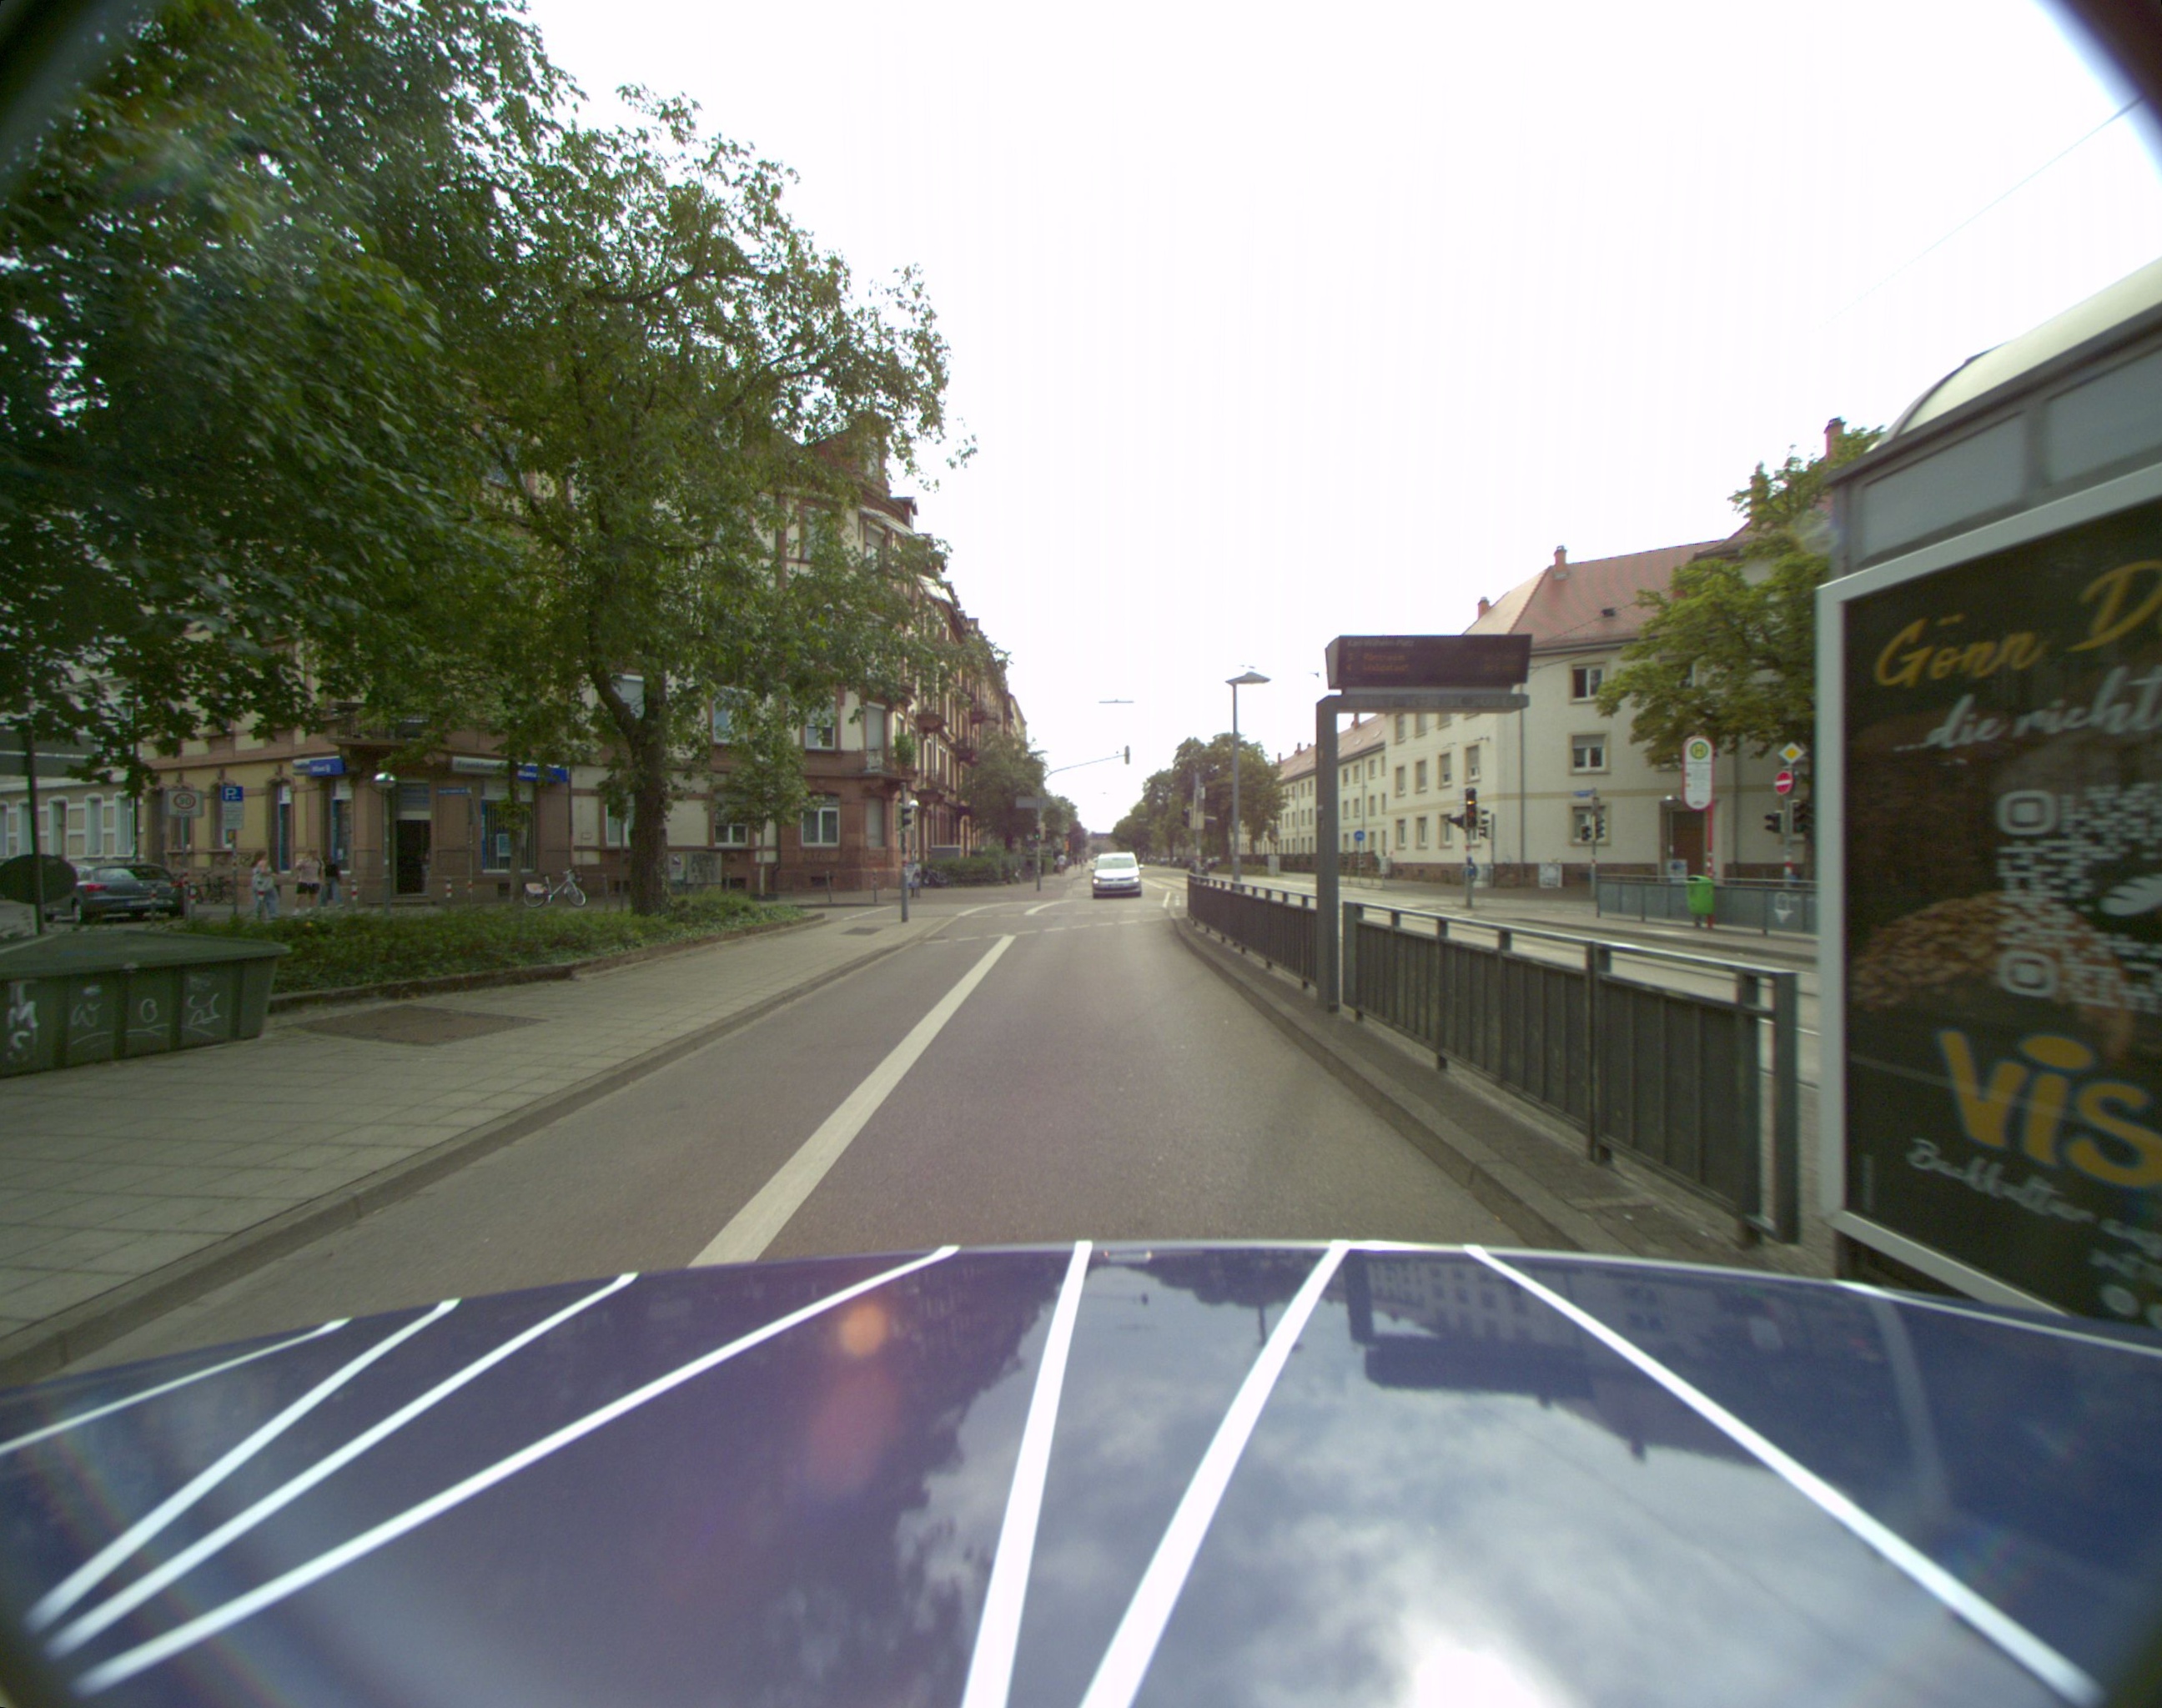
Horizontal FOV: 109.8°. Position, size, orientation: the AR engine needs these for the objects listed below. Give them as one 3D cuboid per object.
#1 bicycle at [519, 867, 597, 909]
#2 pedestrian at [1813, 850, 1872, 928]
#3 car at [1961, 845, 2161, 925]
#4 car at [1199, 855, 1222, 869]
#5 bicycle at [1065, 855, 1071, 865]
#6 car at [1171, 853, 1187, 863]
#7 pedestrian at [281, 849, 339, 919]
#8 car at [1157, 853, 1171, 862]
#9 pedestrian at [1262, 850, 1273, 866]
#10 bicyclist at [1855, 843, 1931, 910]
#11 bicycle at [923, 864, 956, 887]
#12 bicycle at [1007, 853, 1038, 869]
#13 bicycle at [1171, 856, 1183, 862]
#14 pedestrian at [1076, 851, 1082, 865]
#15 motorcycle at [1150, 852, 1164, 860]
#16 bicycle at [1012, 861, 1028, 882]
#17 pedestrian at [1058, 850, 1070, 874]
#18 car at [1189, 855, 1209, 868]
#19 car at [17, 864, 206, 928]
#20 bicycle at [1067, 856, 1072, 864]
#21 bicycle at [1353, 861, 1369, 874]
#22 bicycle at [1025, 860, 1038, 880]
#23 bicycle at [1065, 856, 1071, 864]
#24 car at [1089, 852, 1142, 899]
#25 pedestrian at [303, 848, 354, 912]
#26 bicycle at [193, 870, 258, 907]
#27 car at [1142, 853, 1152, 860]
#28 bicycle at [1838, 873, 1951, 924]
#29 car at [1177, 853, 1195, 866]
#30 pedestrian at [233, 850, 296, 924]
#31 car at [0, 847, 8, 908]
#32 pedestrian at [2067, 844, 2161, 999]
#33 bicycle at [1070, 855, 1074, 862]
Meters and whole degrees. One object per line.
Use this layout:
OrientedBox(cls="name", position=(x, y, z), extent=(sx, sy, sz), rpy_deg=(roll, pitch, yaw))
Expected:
OrientedBox(cls="bicycle", position=(-14.814, 0.952, 21.551), extent=(1.672, 1.137, 0.672), rpy_deg=(0, 0, -8))
OrientedBox(cls="pedestrian", position=(18.790, 0.838, 18.764), extent=(0.731, 1.889, 0.836), rpy_deg=(0, 1, 19))
OrientedBox(cls="car", position=(24.483, 0.699, 18.187), extent=(4.146, 1.711, 1.844), rpy_deg=(3, 3, 40))
OrientedBox(cls="car", position=(13.865, 0.830, 81.370), extent=(1.701, 1.415, 4.300), rpy_deg=(-3, 0, 0))
OrientedBox(cls="bicycle", position=(-1.515, 0.641, 86.670), extent=(0.580, 1.105, 1.672), rpy_deg=(4, 0, -1))
OrientedBox(cls="car", position=(14.159, 0.559, 110.164), extent=(1.701, 1.462, 4.299), rpy_deg=(0, 0, -2))
OrientedBox(cls="pedestrian", position=(-19.513, 0.734, 19.239), extent=(0.891, 1.719, 0.758), rpy_deg=(1, 1, 24))
OrientedBox(cls="car", position=(14.139, 0.581, 129.558), extent=(1.701, 1.462, 4.299), rpy_deg=(-1, 0, -2))
OrientedBox(cls="pedestrian", position=(18.016, 0.375, 73.268), extent=(0.835, 1.503, 0.732), rpy_deg=(0, 1, -5))
OrientedBox(cls="bicyclist", position=(16.722, 0.450, 15.663), extent=(0.662, 1.332, 0.836), rpy_deg=(0, 1, 1))
OrientedBox(cls="bicycle", position=(-6.187, 0.933, 33.296), extent=(0.509, 0.964, 1.553), rpy_deg=(0, 0, 33))
OrientedBox(cls="bicycle", position=(-5.026, 0.610, 65.480), extent=(2.631, 1.304, 0.770), rpy_deg=(0, 0, -2))
OrientedBox(cls="bicycle", position=(14.464, 0.787, 114.926), extent=(1.672, 0.965, 0.672), rpy_deg=(0, 0, -9))
OrientedBox(cls="pedestrian", position=(-0.234, 0.415, 86.183), extent=(0.732, 1.614, 0.835), rpy_deg=(0, 1, 0))
OrientedBox(cls="motorcycle", position=(14.493, 0.408, 145.153), extent=(2.311, 1.382, 0.838), rpy_deg=(-5, 1, 32))
OrientedBox(cls="bicycle", position=(-3.237, 0.913, 40.262), extent=(0.672, 1.100, 1.672), rpy_deg=(0, 0, 1))
OrientedBox(cls="pedestrian", position=(-1.256, 0.608, 55.875), extent=(0.732, 1.744, 0.950), rpy_deg=(0, 1, 5))
OrientedBox(cls="car", position=(13.858, 0.876, 89.517), extent=(1.701, 1.415, 4.300), rpy_deg=(-2, 0, 0))
OrientedBox(cls="car", position=(-24.111, 0.980, 18.912), extent=(3.990, 1.433, 1.821), rpy_deg=(0, 1, 22))
OrientedBox(cls="bicycle", position=(-1.466, 0.719, 98.171), extent=(0.580, 0.977, 1.672), rpy_deg=(4, 0, -1))
OrientedBox(cls="bicycle", position=(19.480, 0.933, 52.873), extent=(0.479, 0.910, 1.672), rpy_deg=(0, 0, 1))
OrientedBox(cls="bicycle", position=(-2.794, 0.896, 42.979), extent=(0.510, 1.082, 1.550), rpy_deg=(3, 0, 1))
OrientedBox(cls="bicycle", position=(-1.569, 0.695, 92.280), extent=(0.580, 0.977, 1.672), rpy_deg=(4, 0, -1))
OrientedBox(cls="car", position=(1.358, 0.777, 29.697), extent=(1.876, 1.670, 5.132), rpy_deg=(0, 0, 3))
OrientedBox(cls="pedestrian", position=(-20.870, 0.715, 21.077), extent=(0.891, 1.719, 0.734), rpy_deg=(1, 1, 24))
OrientedBox(cls="bicycle", position=(-27.084, 1.062, 24.055), extent=(1.935, 1.114, 0.674), rpy_deg=(0, 0, 19))
OrientedBox(cls="car", position=(14.520, 0.569, 166.904), extent=(1.732, 1.462, 4.299), rpy_deg=(0, 0, -2))
OrientedBox(cls="bicycle", position=(16.721, 0.899, 15.668), extent=(0.662, 0.943, 1.550), rpy_deg=(0, 1, 1))
OrientedBox(cls="car", position=(13.979, 0.724, 101.063), extent=(1.790, 1.602, 4.300), rpy_deg=(0, 0, 0))
OrientedBox(cls="pedestrian", position=(-19.583, 0.770, 18.230), extent=(0.730, 1.719, 0.895), rpy_deg=(2, 1, 33))
OrientedBox(cls="car", position=(-37.056, 0.783, 24.520), extent=(3.990, 1.969, 1.871), rpy_deg=(0, 1, 22))
OrientedBox(cls="pedestrian", position=(11.622, 0.695, 8.208), extent=(0.854, 1.611, 0.843), rpy_deg=(0, 1, -5))
OrientedBox(cls="bicycle", position=(-1.537, 0.768, 131.026), extent=(0.630, 1.106, 1.874), rpy_deg=(0, 0, 1))
